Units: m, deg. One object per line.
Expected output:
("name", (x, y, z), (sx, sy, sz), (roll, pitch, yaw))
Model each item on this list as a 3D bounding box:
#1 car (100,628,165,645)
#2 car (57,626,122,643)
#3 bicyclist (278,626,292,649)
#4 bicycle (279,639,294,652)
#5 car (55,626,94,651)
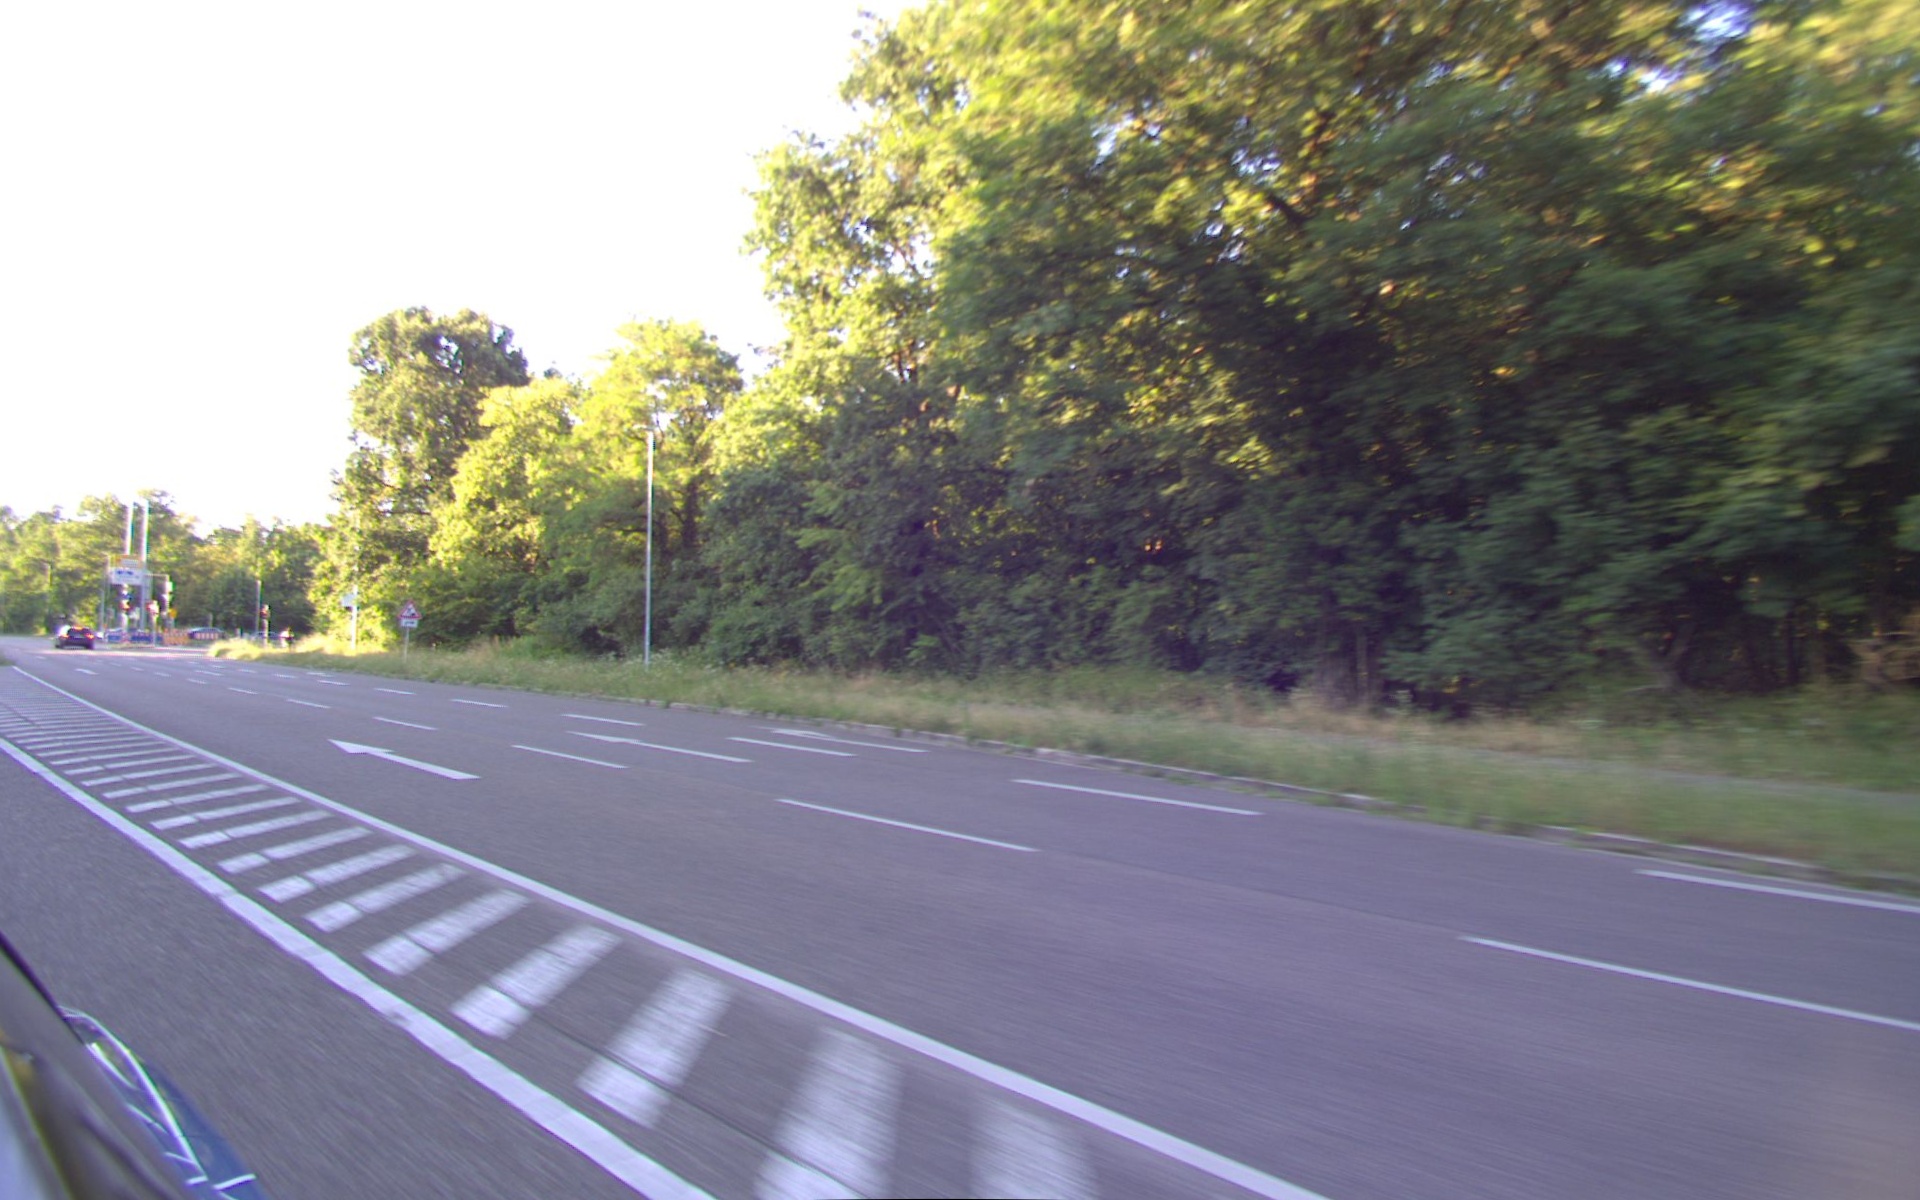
("car", (-73.970, 3.245, 90.547), (1.712, 1.467, 4.197), (-1, -3, 25))
("car", (-80.204, 3.175, 93.341), (1.712, 1.467, 4.197), (-1, -3, 25))
("bicyclist", (-42.784, 2.364, 64.160), (0.578, 1.440, 0.824), (3, -4, -40))
("bicycle", (-42.622, 2.889, 64.029), (0.578, 0.810, 1.962), (3, -4, -40))
("car", (-58.481, 2.551, 66.807), (1.797, 1.545, 4.461), (5, -5, -41))
